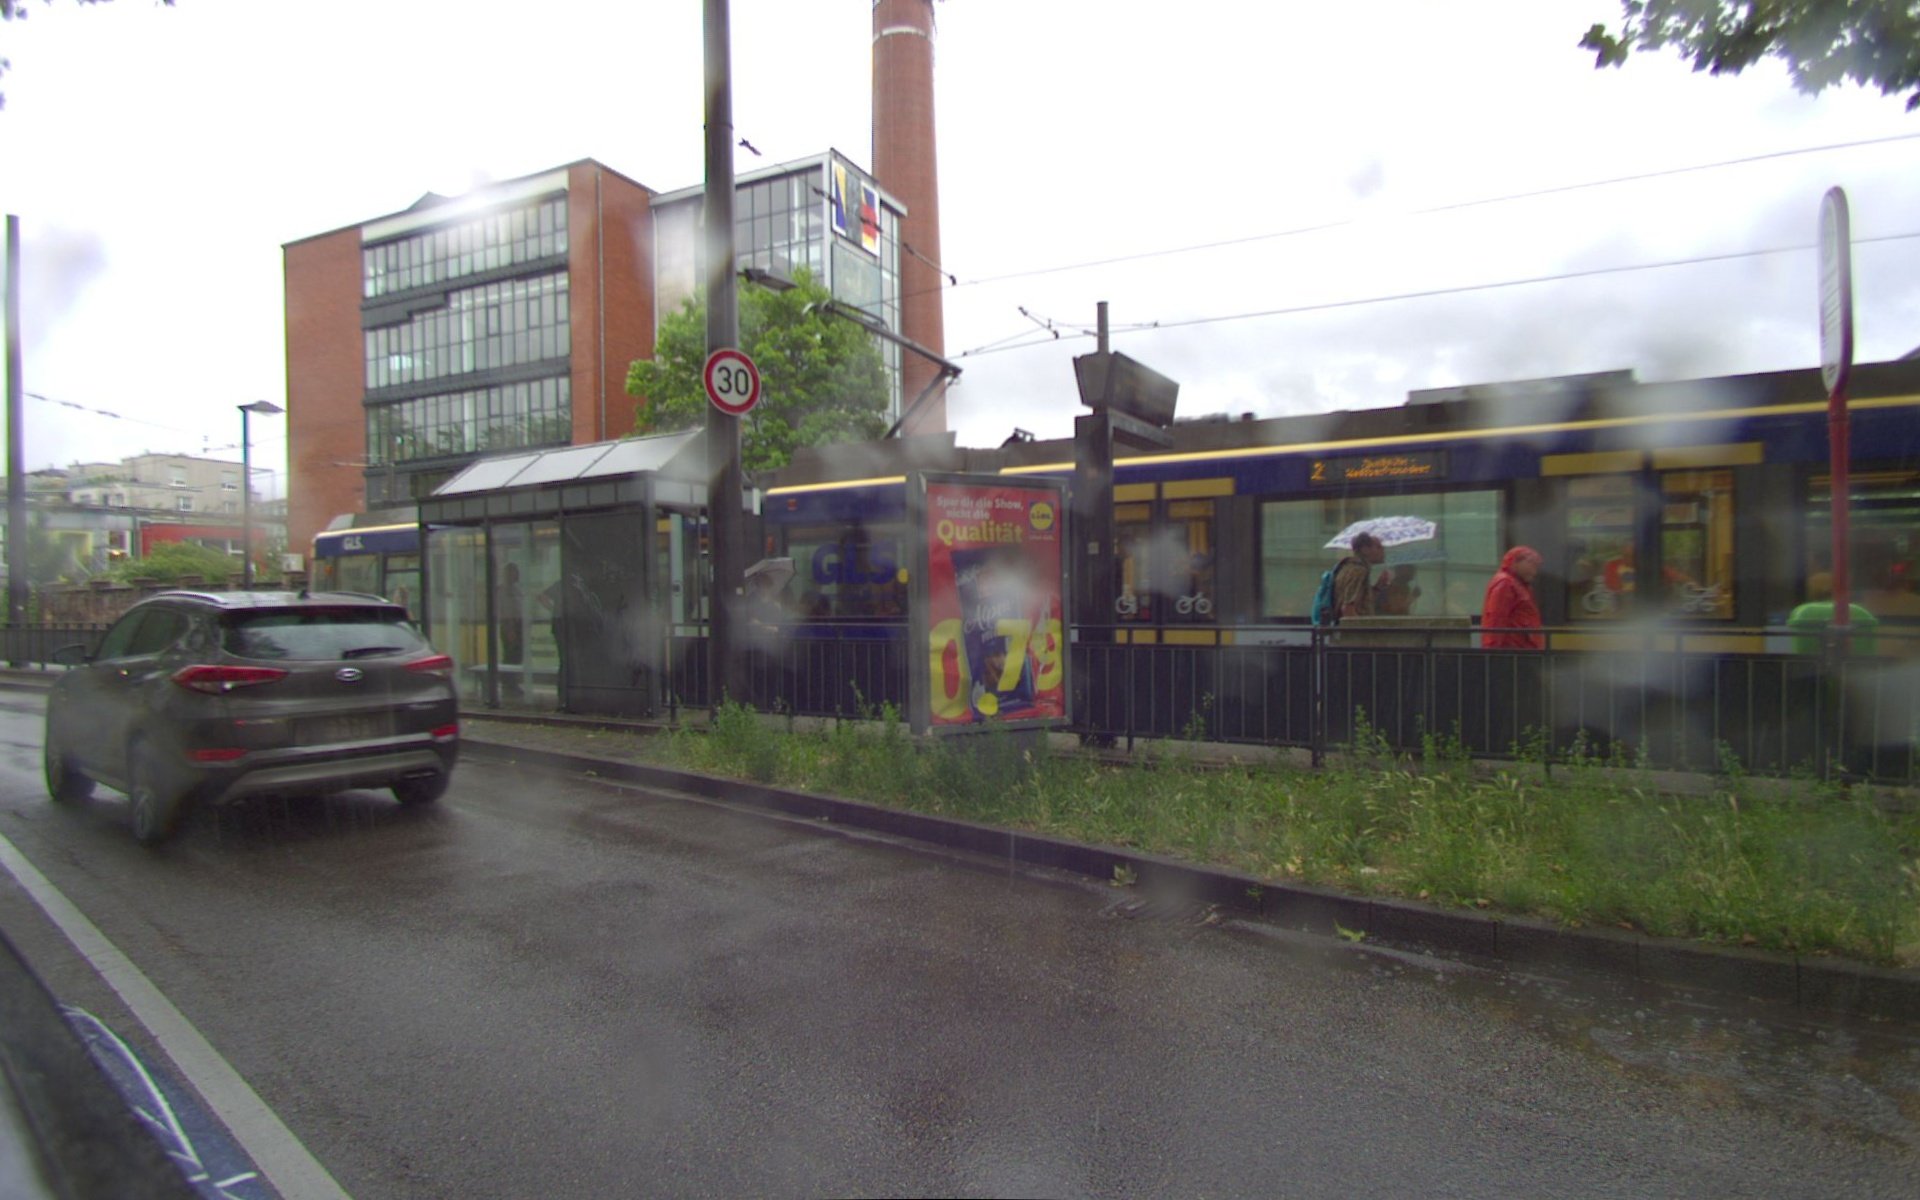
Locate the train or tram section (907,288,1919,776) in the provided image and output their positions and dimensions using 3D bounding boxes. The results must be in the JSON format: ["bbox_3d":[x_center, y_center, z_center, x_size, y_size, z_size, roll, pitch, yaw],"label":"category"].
[{"bbox_3d":[6.065,-0.475,9.564,13.654,3.572,2.842,-1,0,29],"label":"train or tram section"}]

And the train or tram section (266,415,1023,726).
[{"bbox_3d":[-6.363,-0.230,16.952,15.323,3.572,2.838,-1,0,32],"label":"train or tram section"}]

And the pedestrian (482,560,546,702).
[{"bbox_3d":[-5.728,0.386,12.993,0.620,1.762,0.515,-1,0,-41],"label":"pedestrian"}]

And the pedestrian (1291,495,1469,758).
[{"bbox_3d":[3.236,0.223,7.776,1.072,1.840,0.975,-4,-4,30],"label":"pedestrian"}]

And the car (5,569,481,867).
[{"bbox_3d":[-5.755,0.709,7.887,4.597,1.695,1.786,-2,0,38],"label":"car"}]

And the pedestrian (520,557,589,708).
[{"bbox_3d":[-4.920,0.379,12.282,0.620,1.762,0.565,-1,0,-41],"label":"pedestrian"}]

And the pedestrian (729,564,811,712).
[{"bbox_3d":[-2.136,0.435,11.417,0.504,1.610,0.790,-4,-4,30],"label":"pedestrian"}]

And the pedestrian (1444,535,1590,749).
[{"bbox_3d":[4.373,0.334,8.003,0.651,1.584,0.797,-2,-3,4],"label":"pedestrian"}]
